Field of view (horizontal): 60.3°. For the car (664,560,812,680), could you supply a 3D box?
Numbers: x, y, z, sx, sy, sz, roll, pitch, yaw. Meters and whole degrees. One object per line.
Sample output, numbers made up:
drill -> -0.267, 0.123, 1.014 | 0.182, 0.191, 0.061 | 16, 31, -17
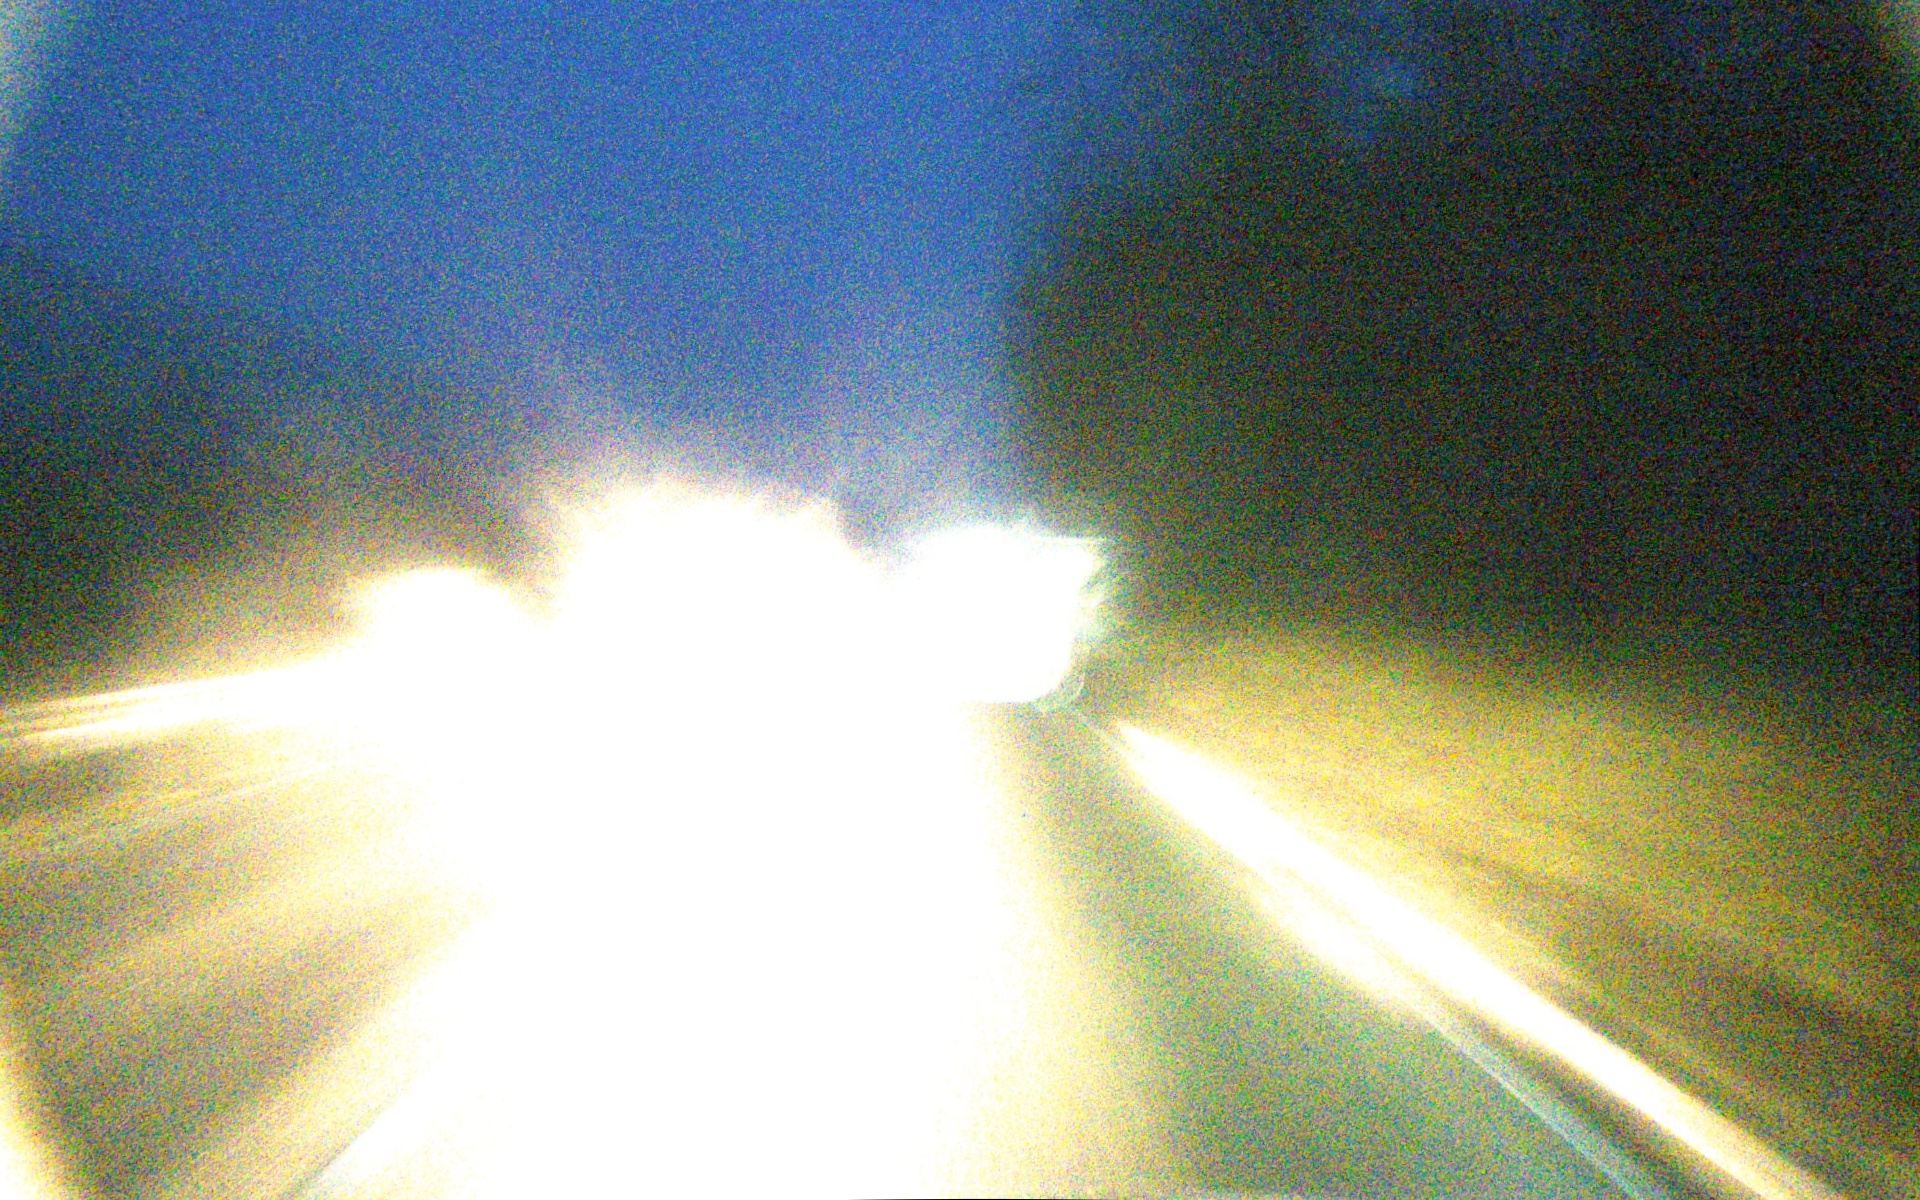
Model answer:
car -> -3.674, 0.307, 28.152 | 1.953, 1.856, 4.562 | 1, 0, -1
